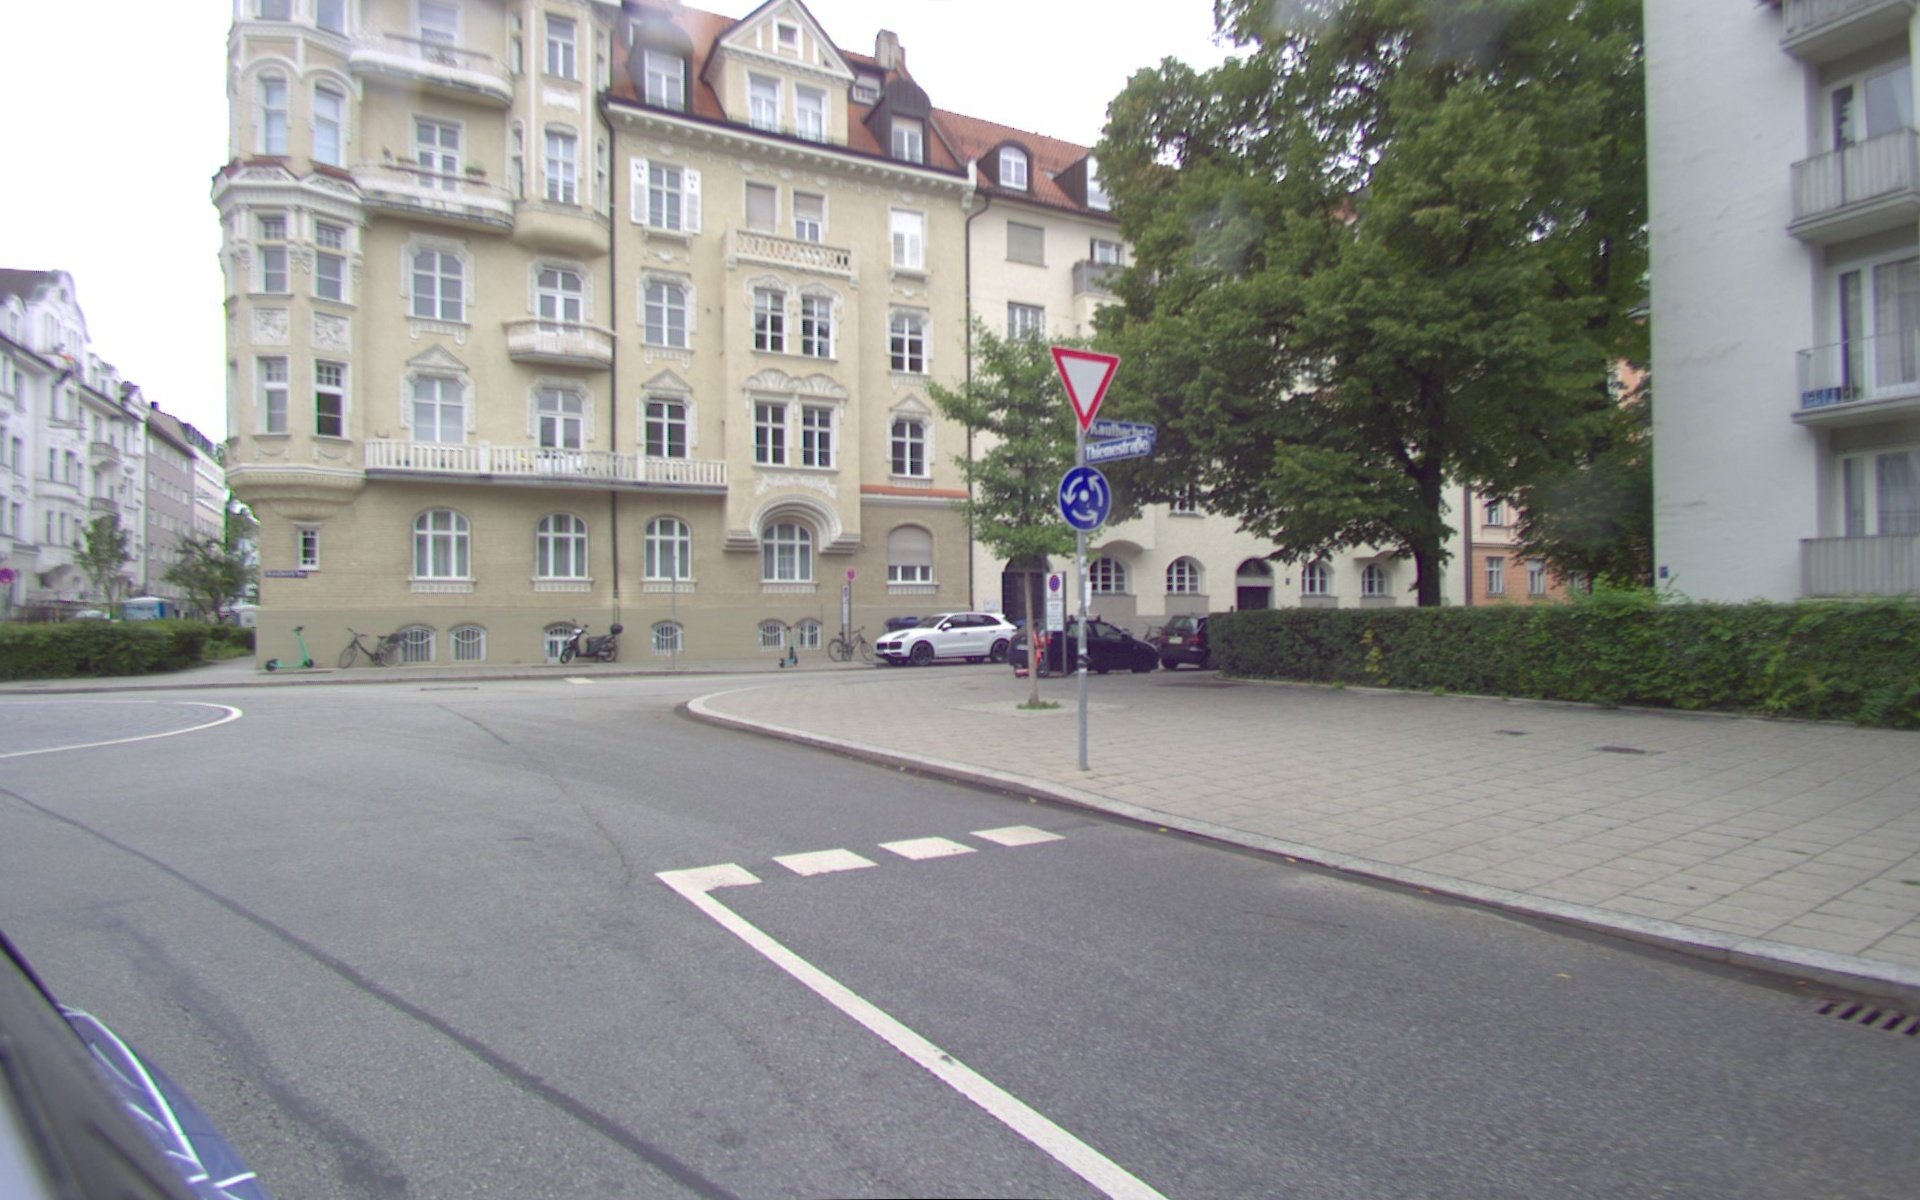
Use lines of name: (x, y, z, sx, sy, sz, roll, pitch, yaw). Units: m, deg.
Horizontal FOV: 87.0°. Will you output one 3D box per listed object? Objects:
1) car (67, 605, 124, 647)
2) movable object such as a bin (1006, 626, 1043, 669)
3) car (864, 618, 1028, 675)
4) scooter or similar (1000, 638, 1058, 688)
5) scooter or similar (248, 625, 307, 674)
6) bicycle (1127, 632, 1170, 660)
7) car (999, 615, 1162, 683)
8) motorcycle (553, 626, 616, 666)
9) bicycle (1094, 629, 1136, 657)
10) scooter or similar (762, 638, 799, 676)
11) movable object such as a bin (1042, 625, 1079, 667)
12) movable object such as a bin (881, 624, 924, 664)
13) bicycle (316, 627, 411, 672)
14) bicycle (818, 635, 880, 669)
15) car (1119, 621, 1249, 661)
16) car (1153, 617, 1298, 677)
car: (-57.673, 1.755, 67.601, 2.048, 2.709, 5.460, 2, -2, -32)
movable object such as a bin: (2.186, 1.589, 34.302, 0.902, 1.411, 0.955, 0, -2, -25)
car: (-0.433, 1.443, 32.485, 4.904, 1.688, 2.006, 0, -1, -29)
scooter or similar: (1.498, 1.357, 22.126, 0.520, 1.032, 1.314, 1, -2, -39)
scooter or similar: (-18.590, 1.332, 27.589, 0.459, 1.281, 1.266, -2, -2, 44)
bicycle: (7.707, 1.865, 41.395, 1.785, 1.077, 0.655, 1, -2, -36)
car: (2.972, 1.191, 24.872, 3.613, 1.540, 1.680, 0, -4, -29)
motorcycle: (-11.631, 1.417, 31.323, 1.716, 1.195, 0.744, 0, -2, -31)
bicycle: (6.291, 1.736, 40.996, 1.785, 1.077, 0.552, 1, -2, -36)
scooter or similar: (-5.384, 1.702, 30.479, 0.538, 1.117, 1.339, -1, -2, 18)
movable object such as a bin: (3.445, 1.560, 34.748, 0.902, 1.411, 0.955, 0, -2, -25)
movable object such as a bin: (-2.059, 1.559, 36.149, 1.160, 1.381, 1.151, 0, -2, -26)
bicycle: (-16.923, 1.380, 28.726, 2.300, 1.212, 0.701, 0, -2, -32)
bicycle: (-3.619, 1.690, 33.145, 1.943, 1.077, 0.655, 1, -2, -36)
car: (8.205, 1.457, 36.970, 4.401, 1.369, 2.006, 0, -1, -29)
car: (7.298, 1.274, 27.807, 3.613, 1.540, 1.680, 0, -4, -29)
